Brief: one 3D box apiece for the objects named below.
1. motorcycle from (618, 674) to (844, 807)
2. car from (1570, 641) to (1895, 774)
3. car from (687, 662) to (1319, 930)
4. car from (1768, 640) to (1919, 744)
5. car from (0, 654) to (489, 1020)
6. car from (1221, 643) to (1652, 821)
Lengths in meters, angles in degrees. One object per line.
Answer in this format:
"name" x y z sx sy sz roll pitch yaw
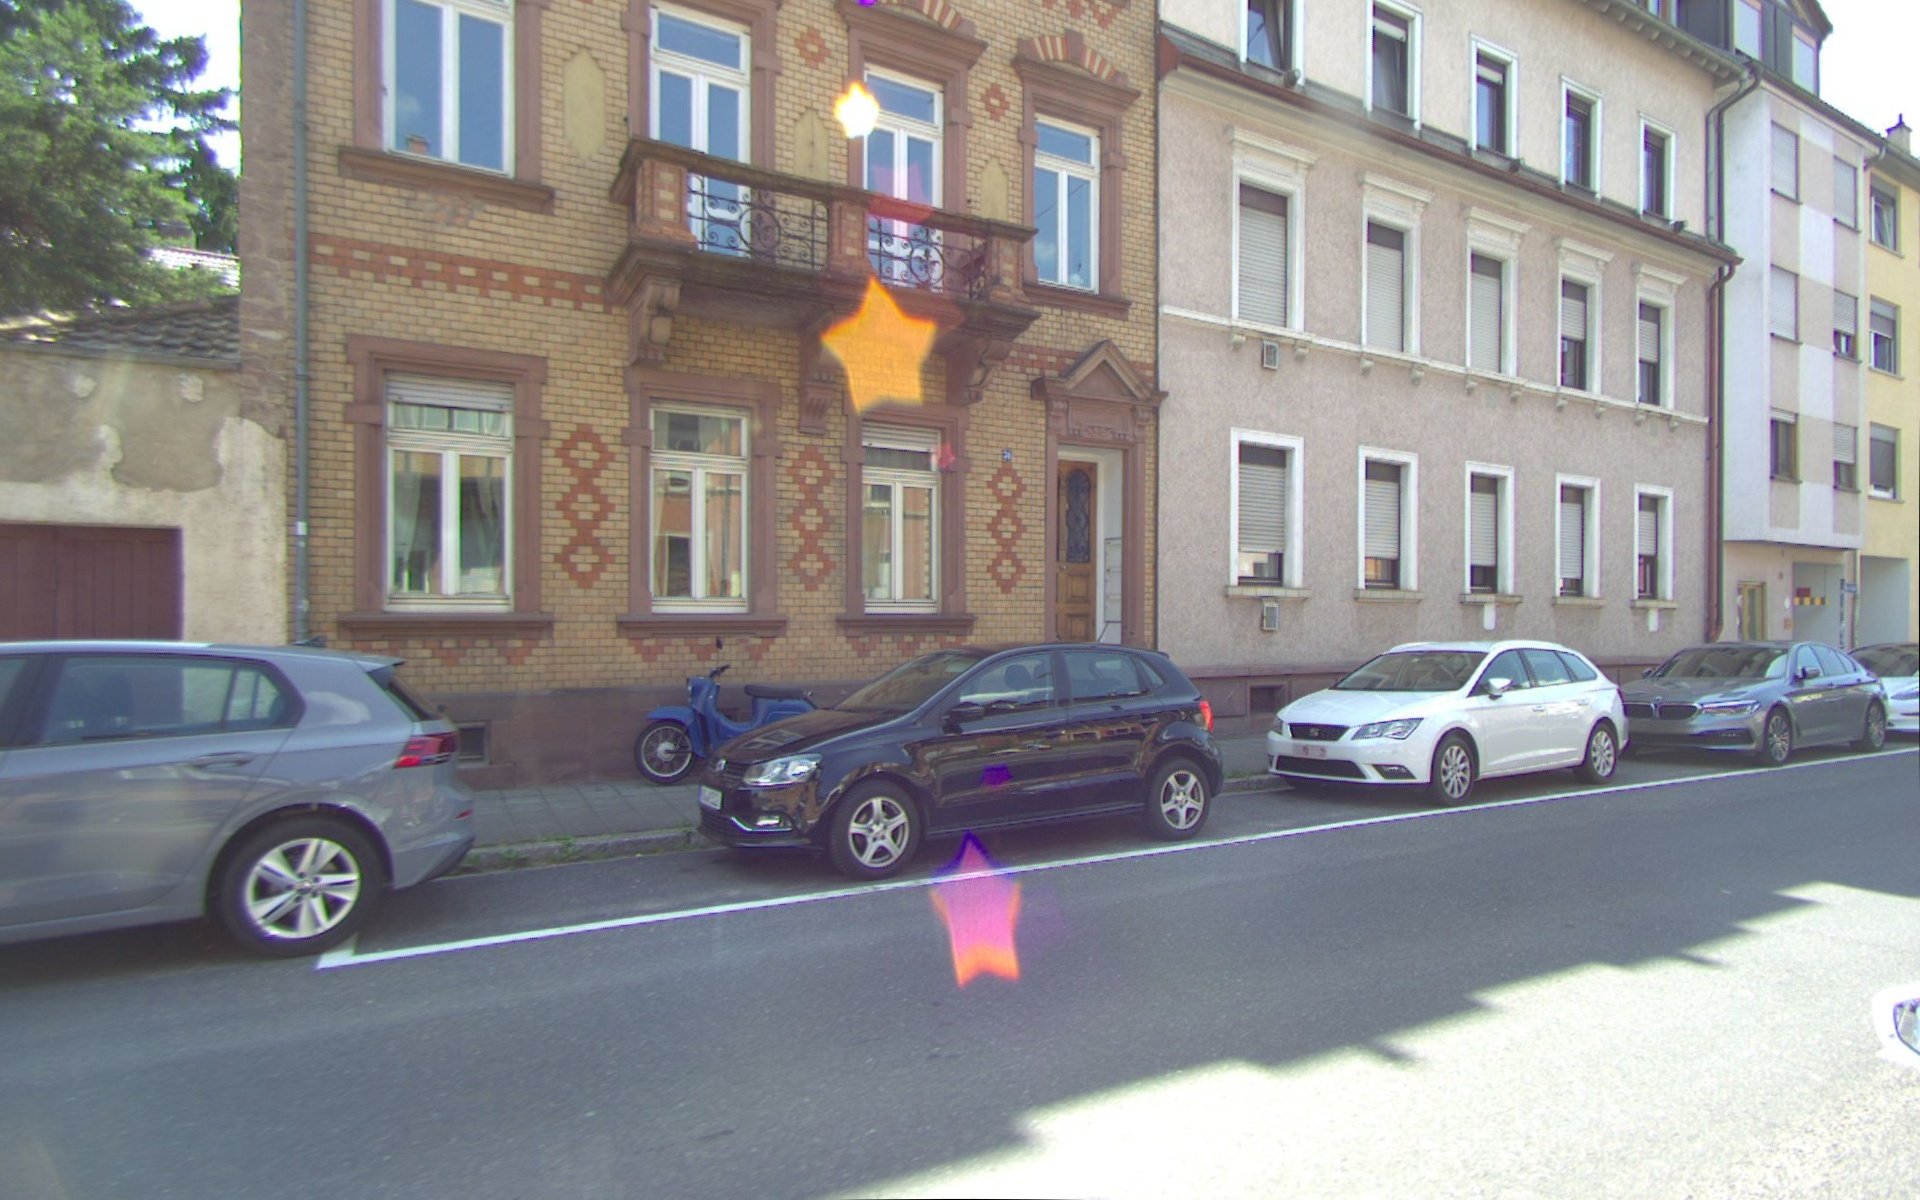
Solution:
"motorcycle" -2.088 1.239 9.228 1.911 1.067 0.710 1 -1 -27
"car" 10.042 1.280 12.975 4.595 1.441 1.830 2 -4 -32
"car" 0.399 1.247 7.561 4.448 1.440 1.833 1 -6 -29
"car" 14.929 1.392 15.820 4.502 1.440 1.833 1 -5 -29
"car" -4.693 1.030 4.568 4.453 1.440 1.831 2 -7 -32
"car" 4.900 1.184 10.157 4.453 1.441 1.830 2 -4 -32
